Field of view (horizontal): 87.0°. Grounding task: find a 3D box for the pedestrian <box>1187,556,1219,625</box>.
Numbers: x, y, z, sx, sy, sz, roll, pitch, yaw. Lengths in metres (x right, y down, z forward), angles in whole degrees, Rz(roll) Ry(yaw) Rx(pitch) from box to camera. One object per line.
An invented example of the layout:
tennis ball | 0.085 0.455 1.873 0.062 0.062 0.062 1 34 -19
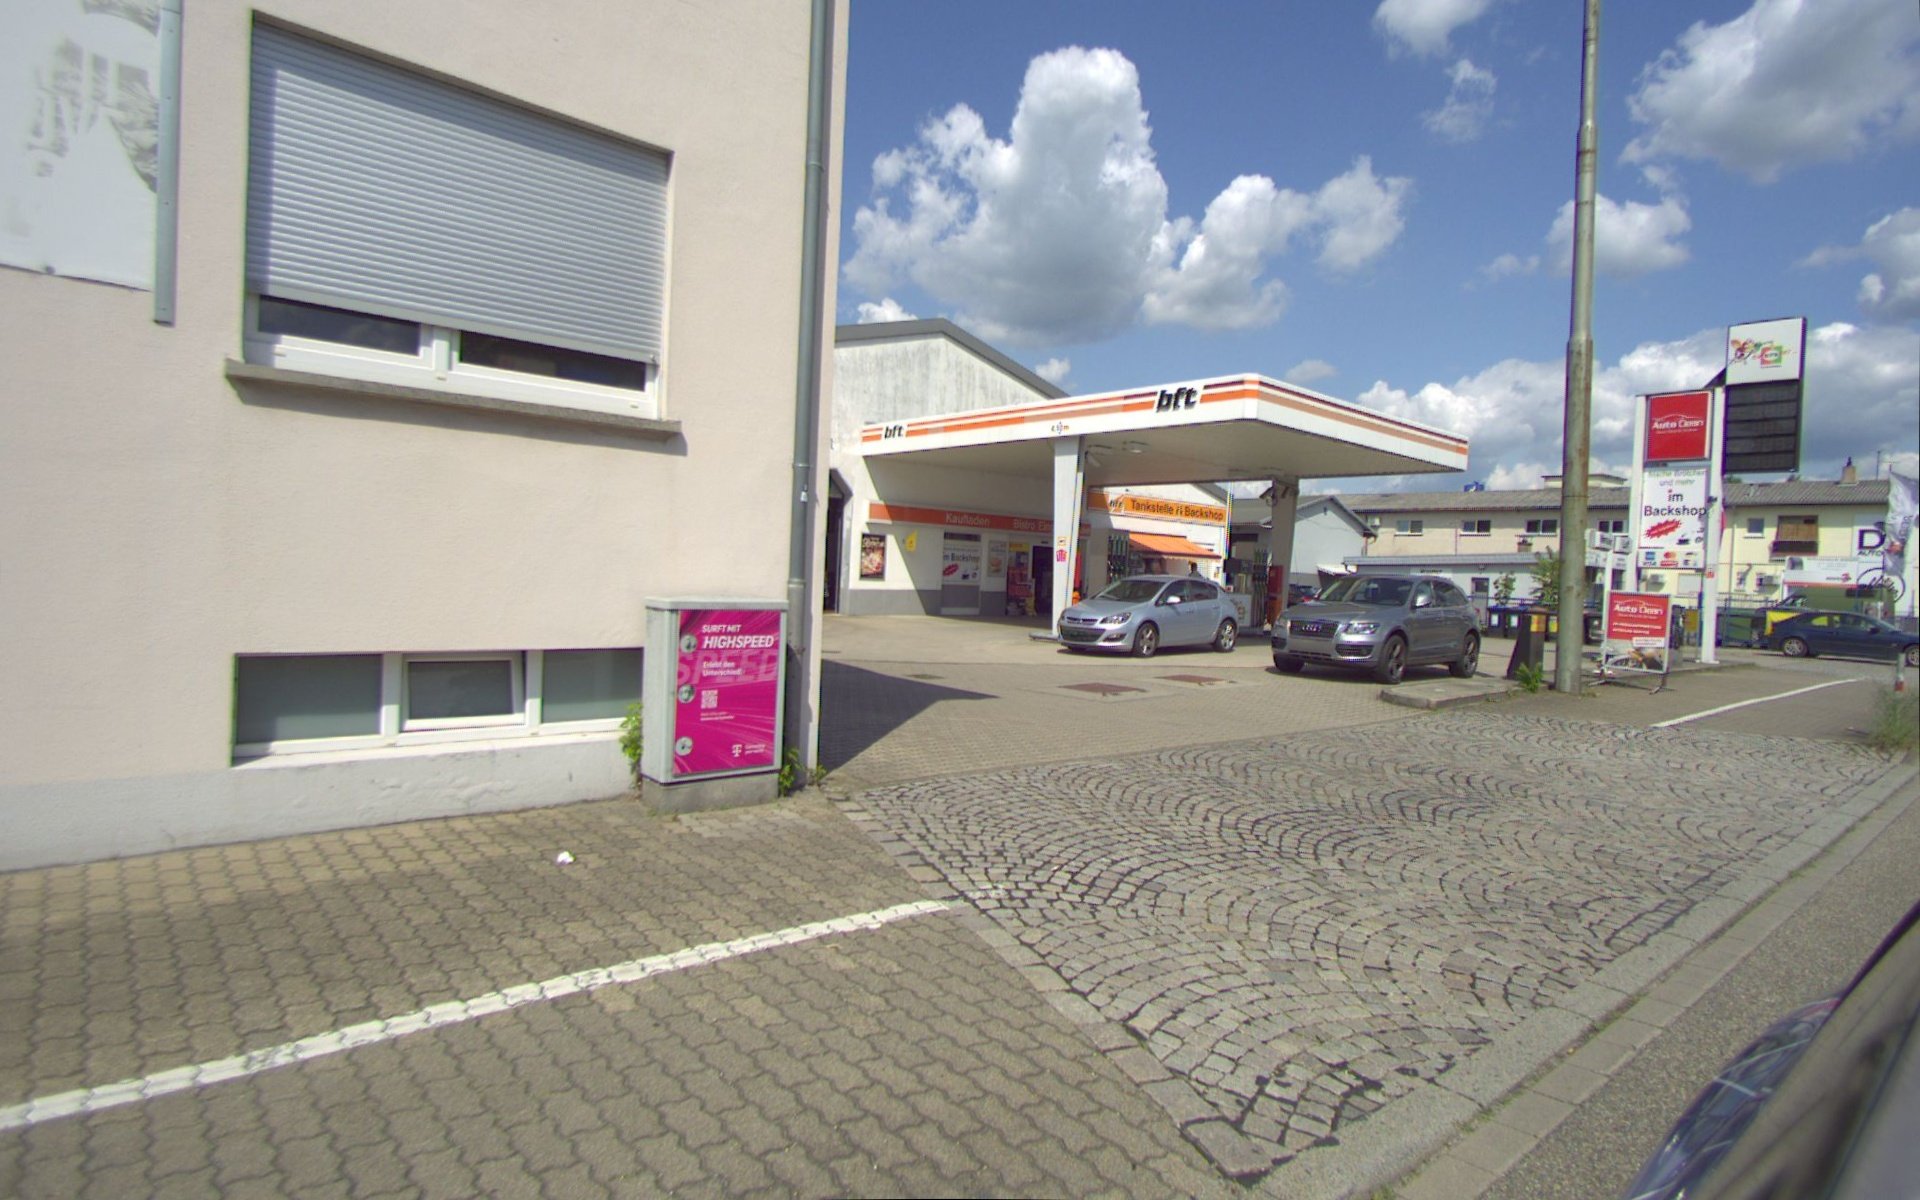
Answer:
pedestrian | 6.262 -0.259 26.072 0.679 1.744 0.614 1 0 24

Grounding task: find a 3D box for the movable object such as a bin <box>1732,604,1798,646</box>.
movable object such as a bin | 28.473 0.861 35.805 1.735 1.428 1.534 0 1 -41

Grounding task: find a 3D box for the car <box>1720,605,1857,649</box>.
car | 33.090 1.036 40.534 1.592 1.481 3.918 1 2 -24

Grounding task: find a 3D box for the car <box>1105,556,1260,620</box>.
car | 5.999 -0.298 27.030 4.413 1.538 1.686 1 3 -41

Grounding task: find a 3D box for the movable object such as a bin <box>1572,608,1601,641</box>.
movable object such as a bin | 19.810 0.773 32.003 0.694 1.023 0.581 0 0 -42

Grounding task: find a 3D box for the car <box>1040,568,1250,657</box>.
car | 3.625 0.187 19.361 4.349 1.489 1.694 0 2 -44

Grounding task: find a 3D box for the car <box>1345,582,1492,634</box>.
car | 15.384 0.229 34.127 1.739 1.442 4.146 0 3 -39

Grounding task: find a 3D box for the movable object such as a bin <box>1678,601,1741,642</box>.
movable object such as a bin | 27.363 0.751 36.945 1.735 1.428 1.534 0 1 -41

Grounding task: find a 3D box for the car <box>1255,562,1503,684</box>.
car | 6.880 0.306 16.377 4.537 1.645 1.949 1 3 -43

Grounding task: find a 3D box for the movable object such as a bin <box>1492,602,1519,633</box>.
movable object such as a bin | 18.218 0.569 33.809 0.694 1.023 0.581 0 0 -42

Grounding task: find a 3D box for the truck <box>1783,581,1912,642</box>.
truck | 41.032 0.471 46.859 2.071 2.694 4.181 0 1 -39

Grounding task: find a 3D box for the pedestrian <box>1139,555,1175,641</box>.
pedestrian | 4.182 -0.051 21.487 0.567 1.799 0.497 1 0 -43

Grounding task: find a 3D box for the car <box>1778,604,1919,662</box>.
car | 26.006 0.913 28.668 1.615 1.425 4.068 0 2 -34

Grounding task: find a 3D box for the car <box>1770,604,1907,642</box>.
car | 38.992 0.988 44.998 1.791 1.526 4.266 0 1 -32

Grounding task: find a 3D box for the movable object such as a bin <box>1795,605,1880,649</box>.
movable object such as a bin | 29.772 0.889 34.351 1.679 1.364 1.966 0 1 -41
